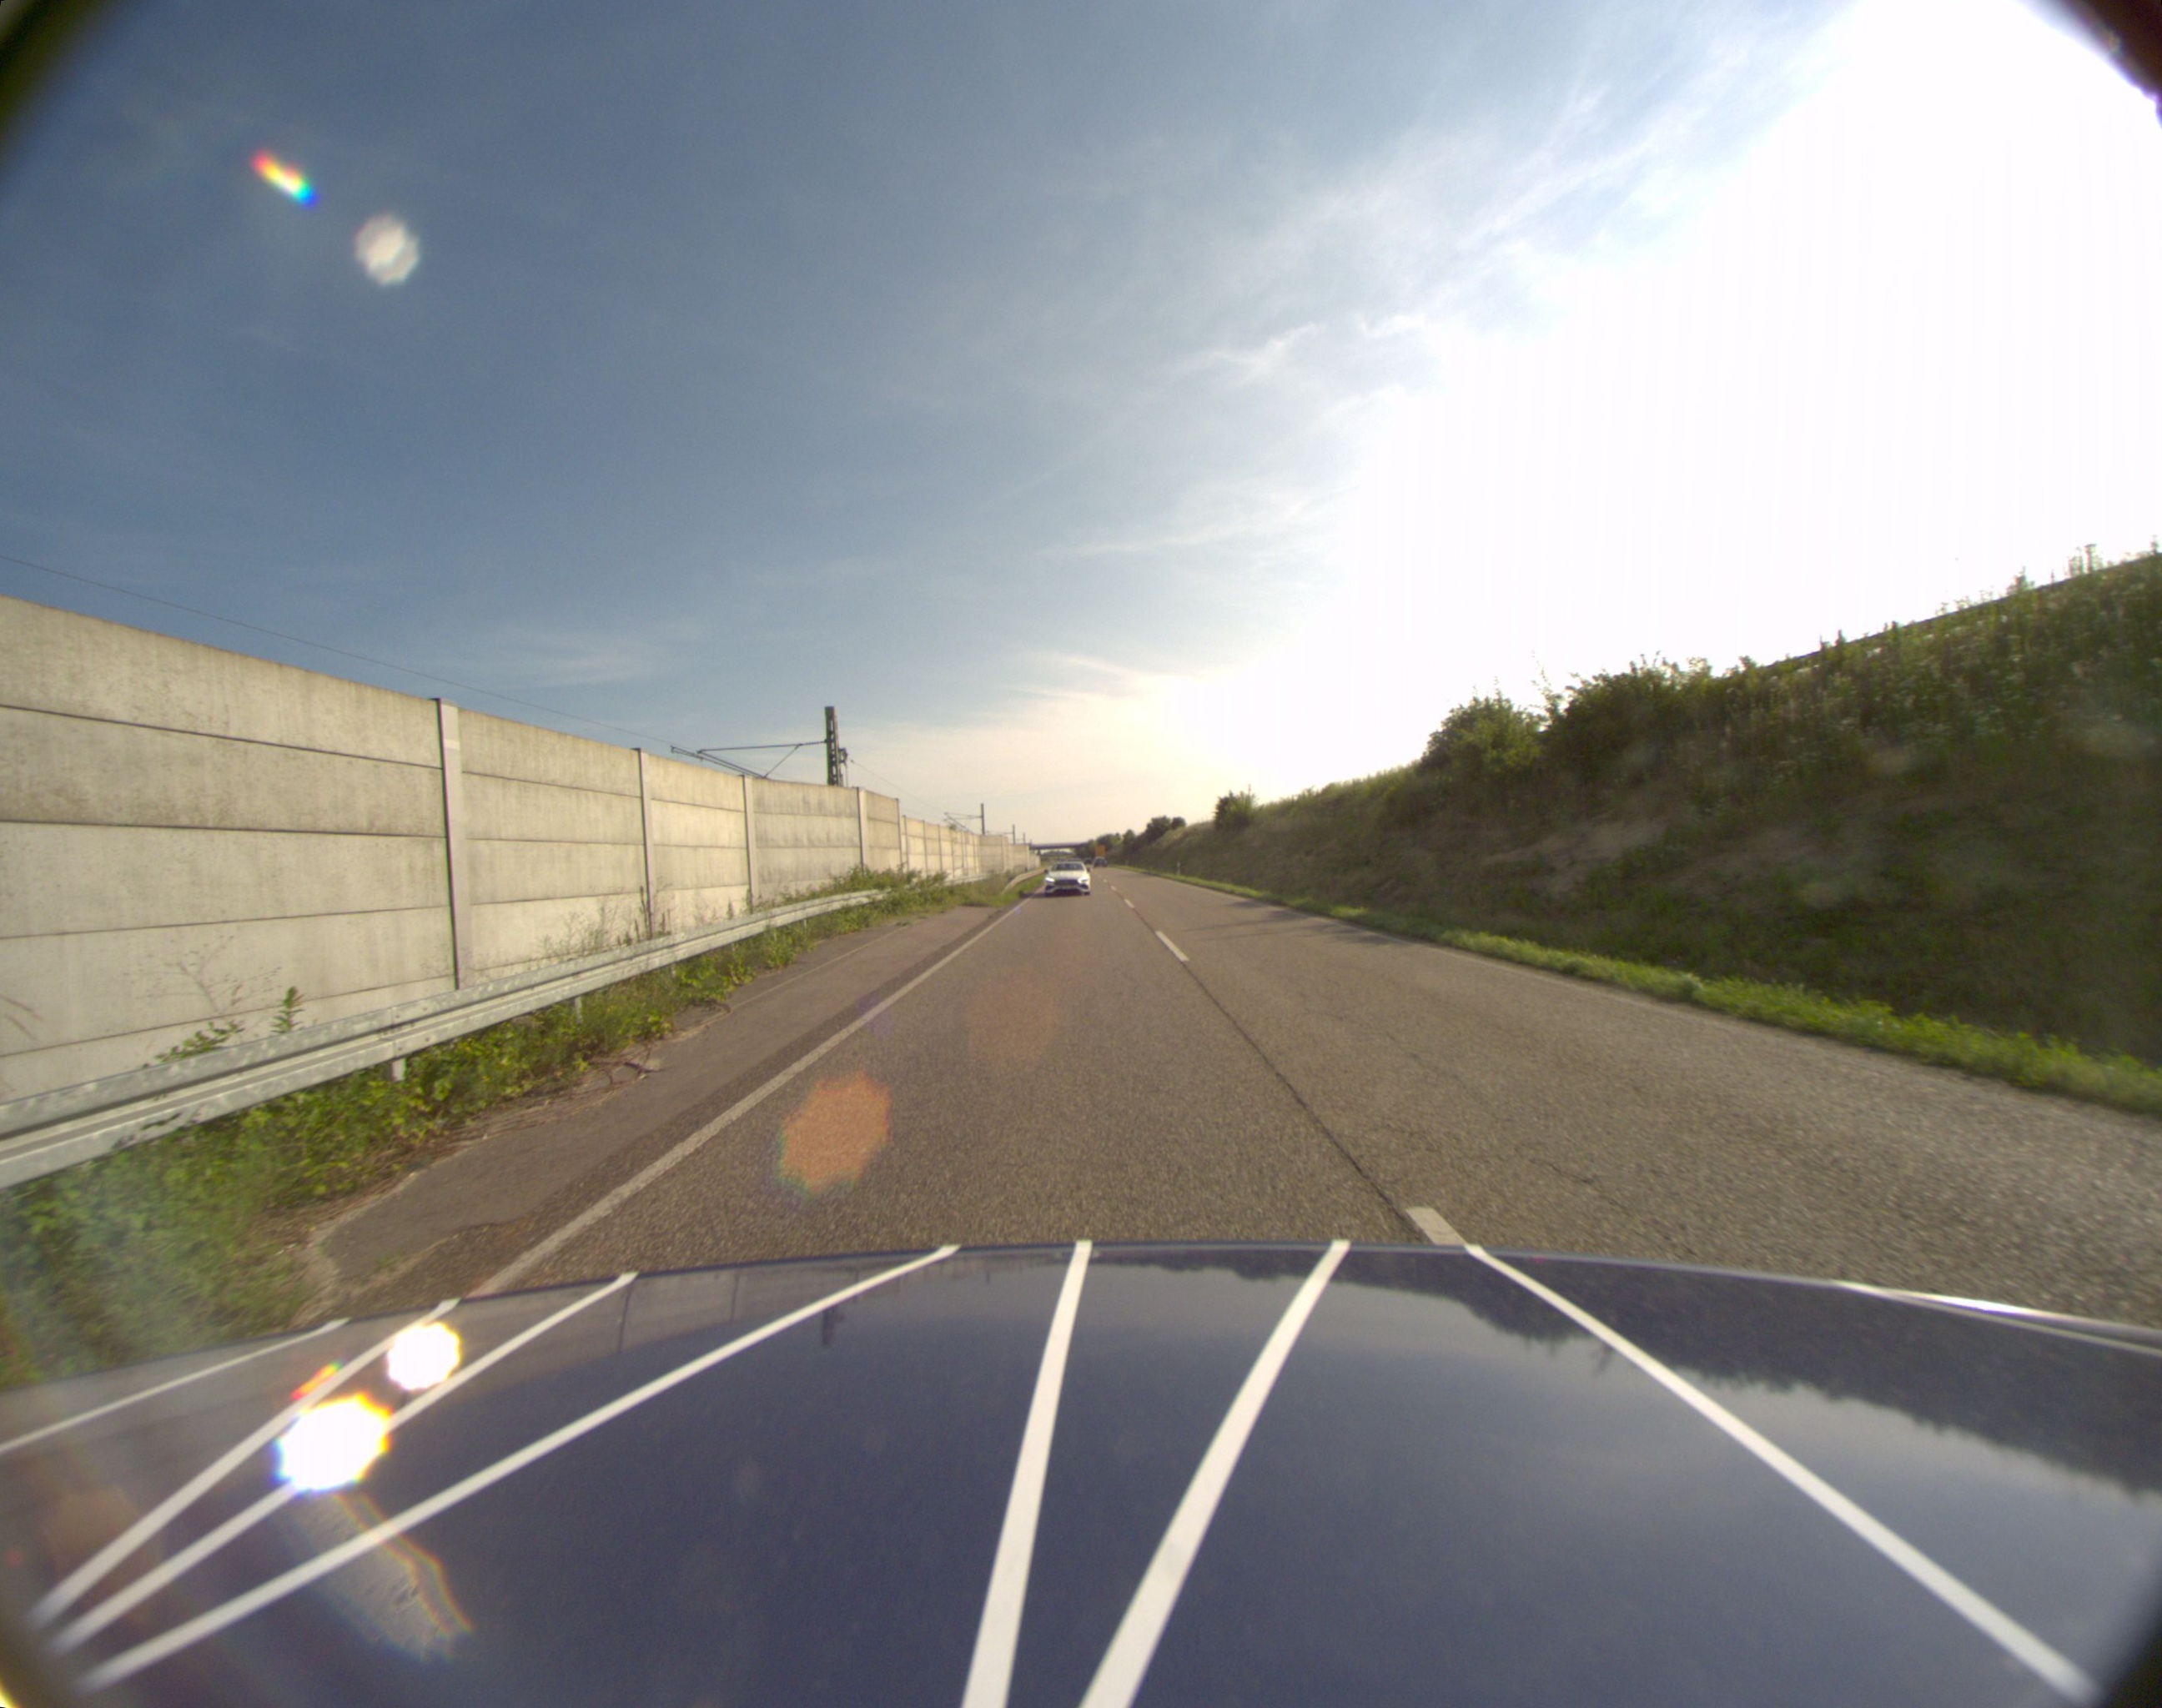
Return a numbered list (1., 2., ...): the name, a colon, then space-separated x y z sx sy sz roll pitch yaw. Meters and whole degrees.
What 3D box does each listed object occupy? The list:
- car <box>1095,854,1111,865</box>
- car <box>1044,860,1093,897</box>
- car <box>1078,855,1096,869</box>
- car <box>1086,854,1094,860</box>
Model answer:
1. car: 3.293 0.849 114.931 2.146 1.564 5.339 -2 0 0
2. car: -0.476 1.004 32.939 1.930 1.398 4.974 -2 0 0
3. car: 0.597 0.878 84.077 1.930 1.399 4.973 -1 1 0
4. car: 2.012 0.641 169.541 1.721 1.445 4.018 -1 0 -1
